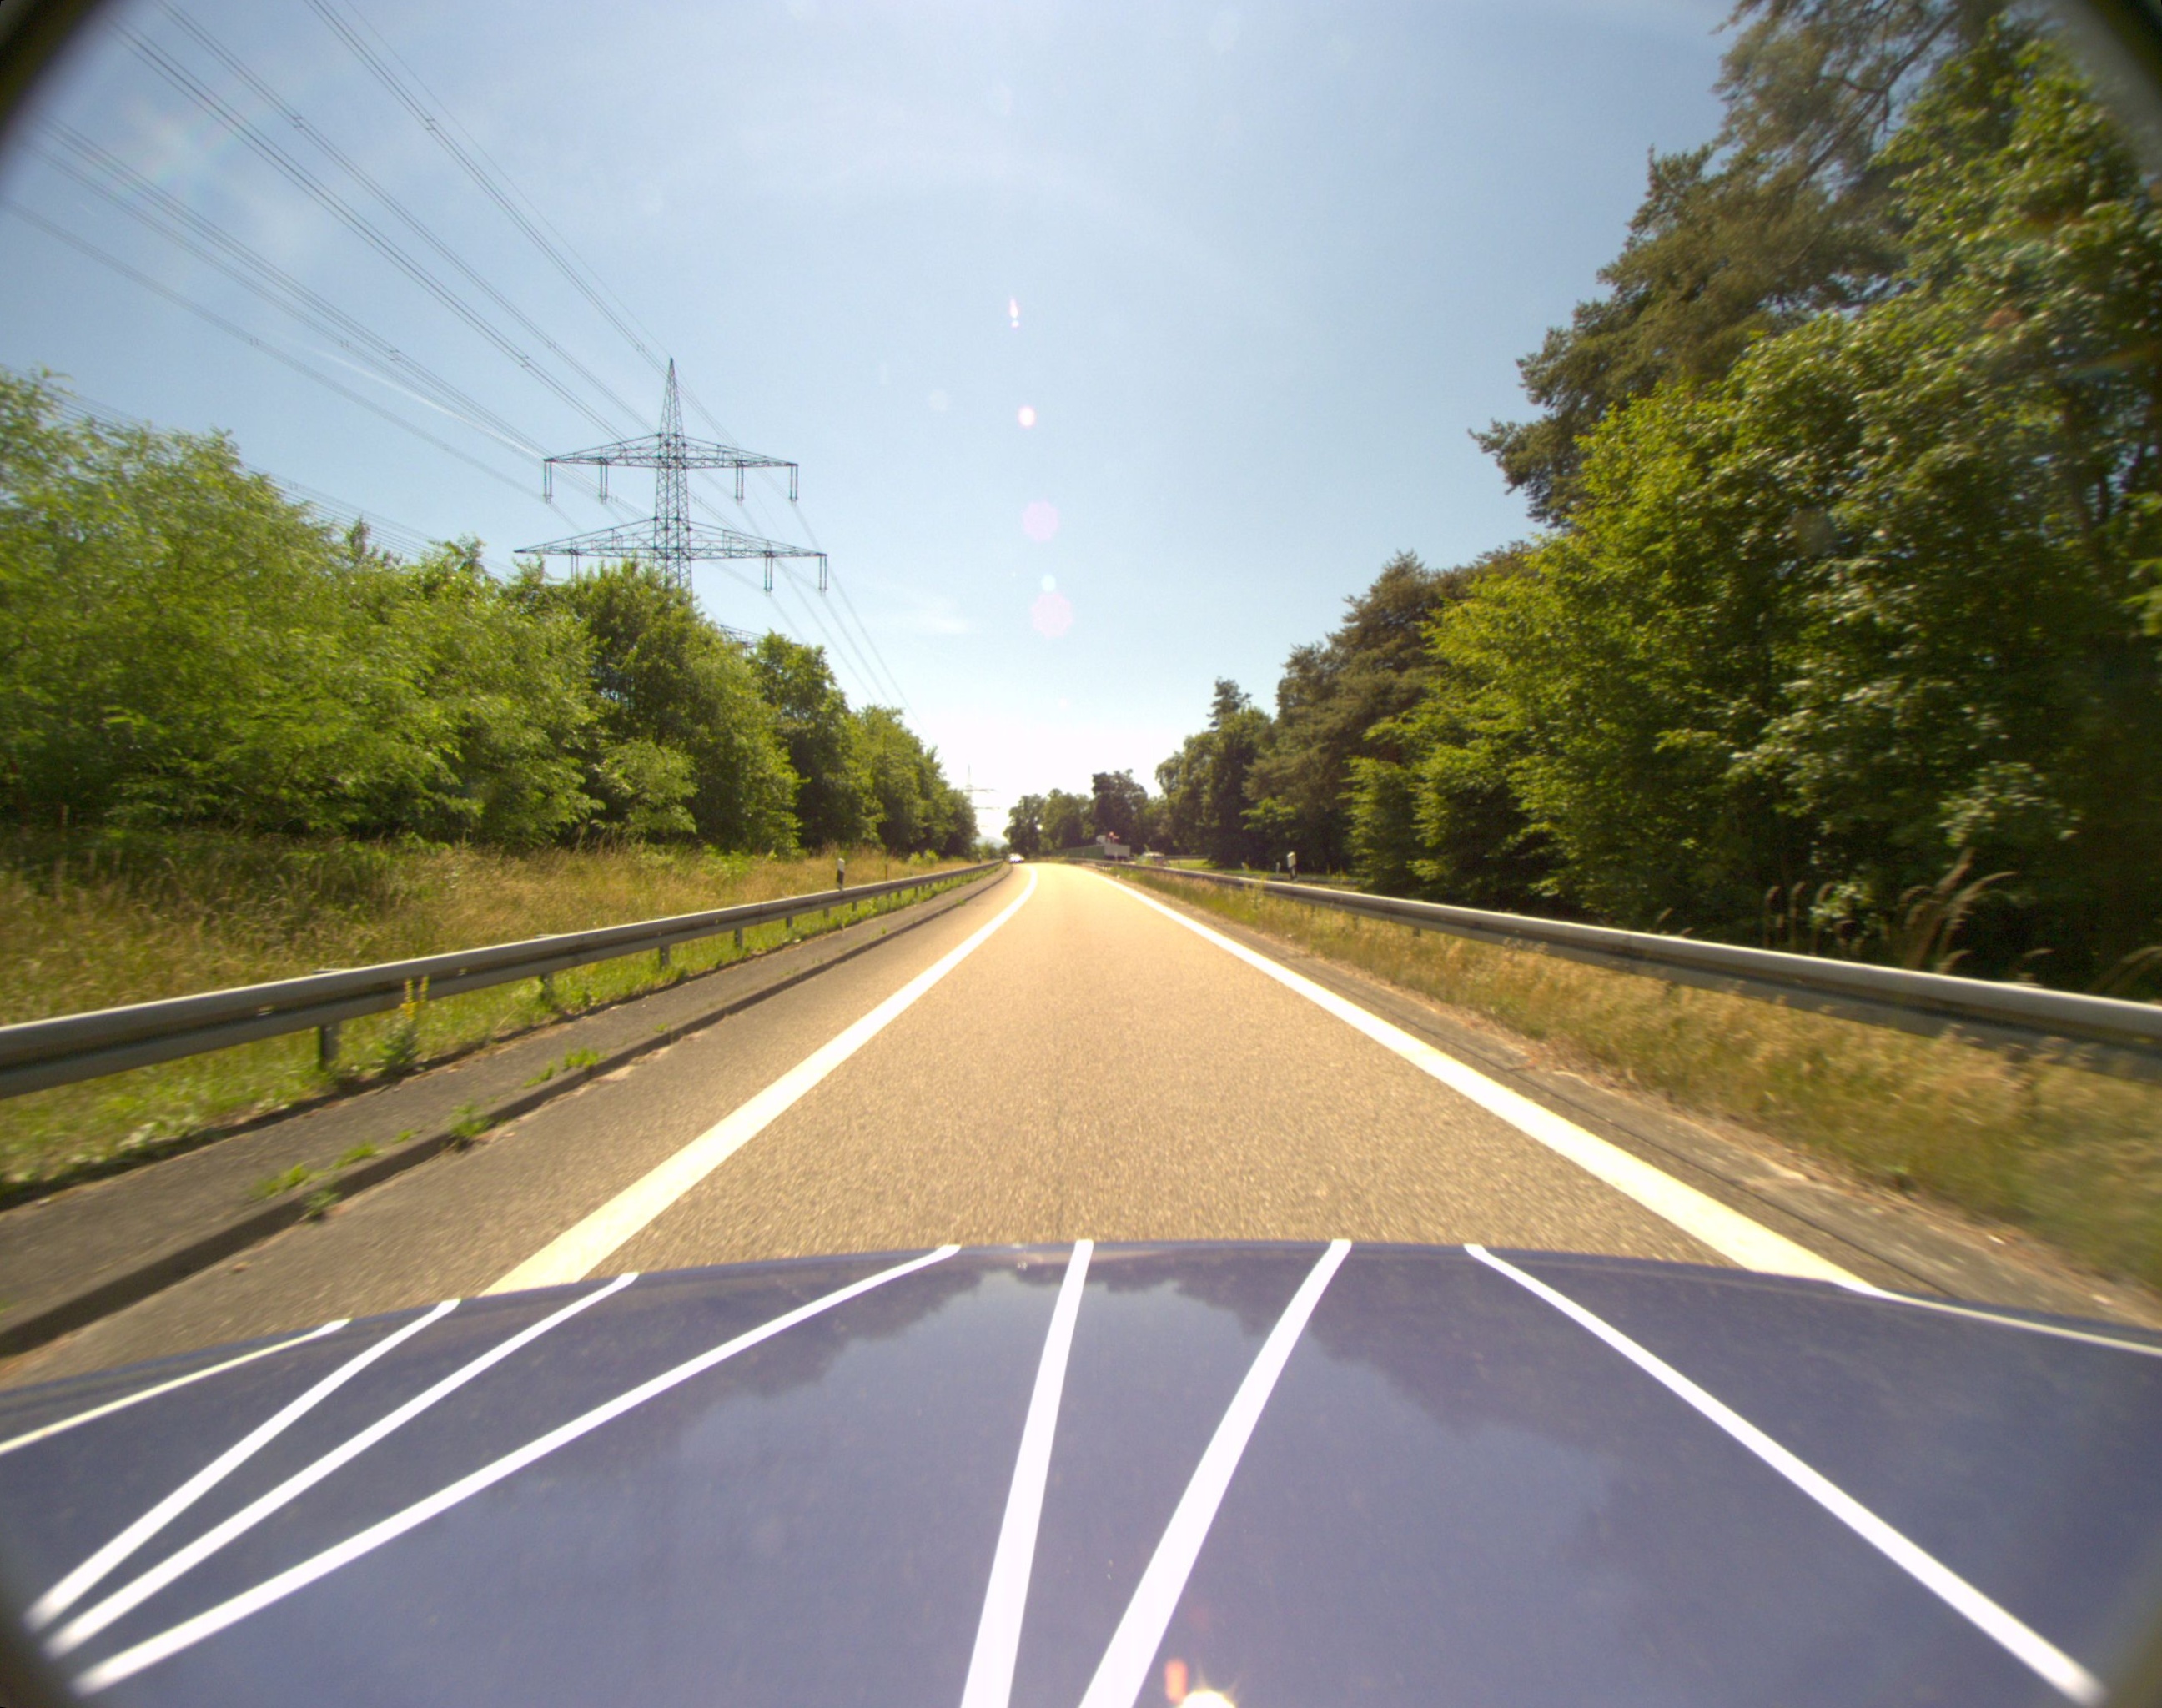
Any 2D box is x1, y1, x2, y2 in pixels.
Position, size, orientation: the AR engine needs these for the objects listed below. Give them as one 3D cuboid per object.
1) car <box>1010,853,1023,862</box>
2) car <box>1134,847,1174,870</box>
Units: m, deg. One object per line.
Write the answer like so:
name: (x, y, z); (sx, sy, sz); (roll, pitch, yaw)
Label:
car: (-11.988, 0.671, 141.283); (2.000, 1.674, 3.996); (-2, 0, -12)
car: (5.616, 0.297, 58.945); (2.000, 1.631, 5.267); (1, 1, -7)
